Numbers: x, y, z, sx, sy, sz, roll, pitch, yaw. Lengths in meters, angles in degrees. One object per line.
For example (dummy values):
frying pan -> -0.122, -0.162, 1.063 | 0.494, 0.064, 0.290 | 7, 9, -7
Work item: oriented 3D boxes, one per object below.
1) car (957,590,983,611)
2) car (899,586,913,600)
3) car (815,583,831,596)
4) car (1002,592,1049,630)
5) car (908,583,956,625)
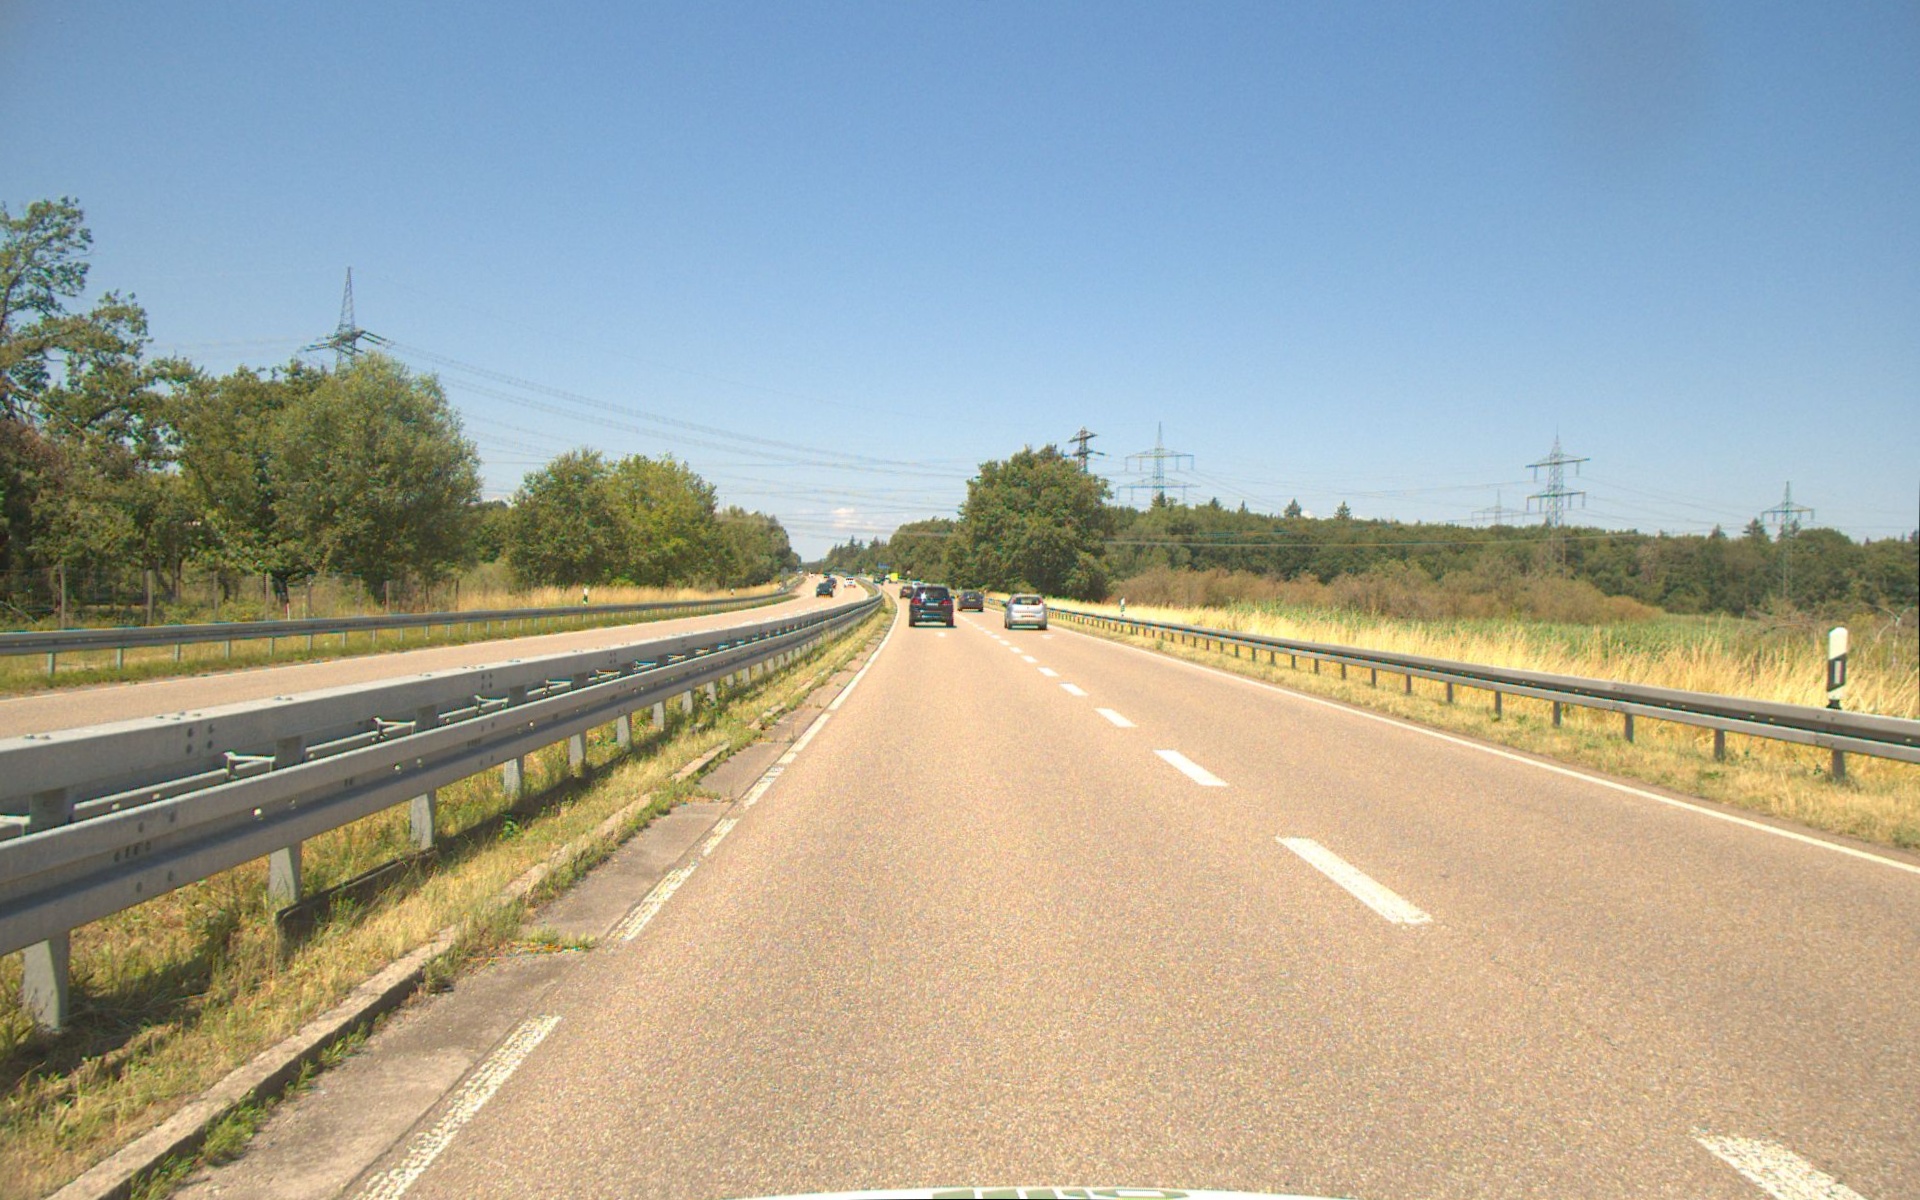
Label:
car -> 0.719, 0.015, 119.694 | 1.782, 1.439, 4.000 | 2, 0, -1
car -> -6.193, -0.827, 188.509 | 1.484, 1.501, 3.066 | 2, 0, -1
car -> -16.076, -1.201, 193.478 | 1.796, 1.501, 3.680 | -1, 0, -6
car -> 2.731, 0.441, 69.641 | 1.743, 1.505, 4.315 | 2, 0, -1
car -> -1.193, 0.170, 70.516 | 1.953, 1.683, 3.999 | 2, 0, -1
